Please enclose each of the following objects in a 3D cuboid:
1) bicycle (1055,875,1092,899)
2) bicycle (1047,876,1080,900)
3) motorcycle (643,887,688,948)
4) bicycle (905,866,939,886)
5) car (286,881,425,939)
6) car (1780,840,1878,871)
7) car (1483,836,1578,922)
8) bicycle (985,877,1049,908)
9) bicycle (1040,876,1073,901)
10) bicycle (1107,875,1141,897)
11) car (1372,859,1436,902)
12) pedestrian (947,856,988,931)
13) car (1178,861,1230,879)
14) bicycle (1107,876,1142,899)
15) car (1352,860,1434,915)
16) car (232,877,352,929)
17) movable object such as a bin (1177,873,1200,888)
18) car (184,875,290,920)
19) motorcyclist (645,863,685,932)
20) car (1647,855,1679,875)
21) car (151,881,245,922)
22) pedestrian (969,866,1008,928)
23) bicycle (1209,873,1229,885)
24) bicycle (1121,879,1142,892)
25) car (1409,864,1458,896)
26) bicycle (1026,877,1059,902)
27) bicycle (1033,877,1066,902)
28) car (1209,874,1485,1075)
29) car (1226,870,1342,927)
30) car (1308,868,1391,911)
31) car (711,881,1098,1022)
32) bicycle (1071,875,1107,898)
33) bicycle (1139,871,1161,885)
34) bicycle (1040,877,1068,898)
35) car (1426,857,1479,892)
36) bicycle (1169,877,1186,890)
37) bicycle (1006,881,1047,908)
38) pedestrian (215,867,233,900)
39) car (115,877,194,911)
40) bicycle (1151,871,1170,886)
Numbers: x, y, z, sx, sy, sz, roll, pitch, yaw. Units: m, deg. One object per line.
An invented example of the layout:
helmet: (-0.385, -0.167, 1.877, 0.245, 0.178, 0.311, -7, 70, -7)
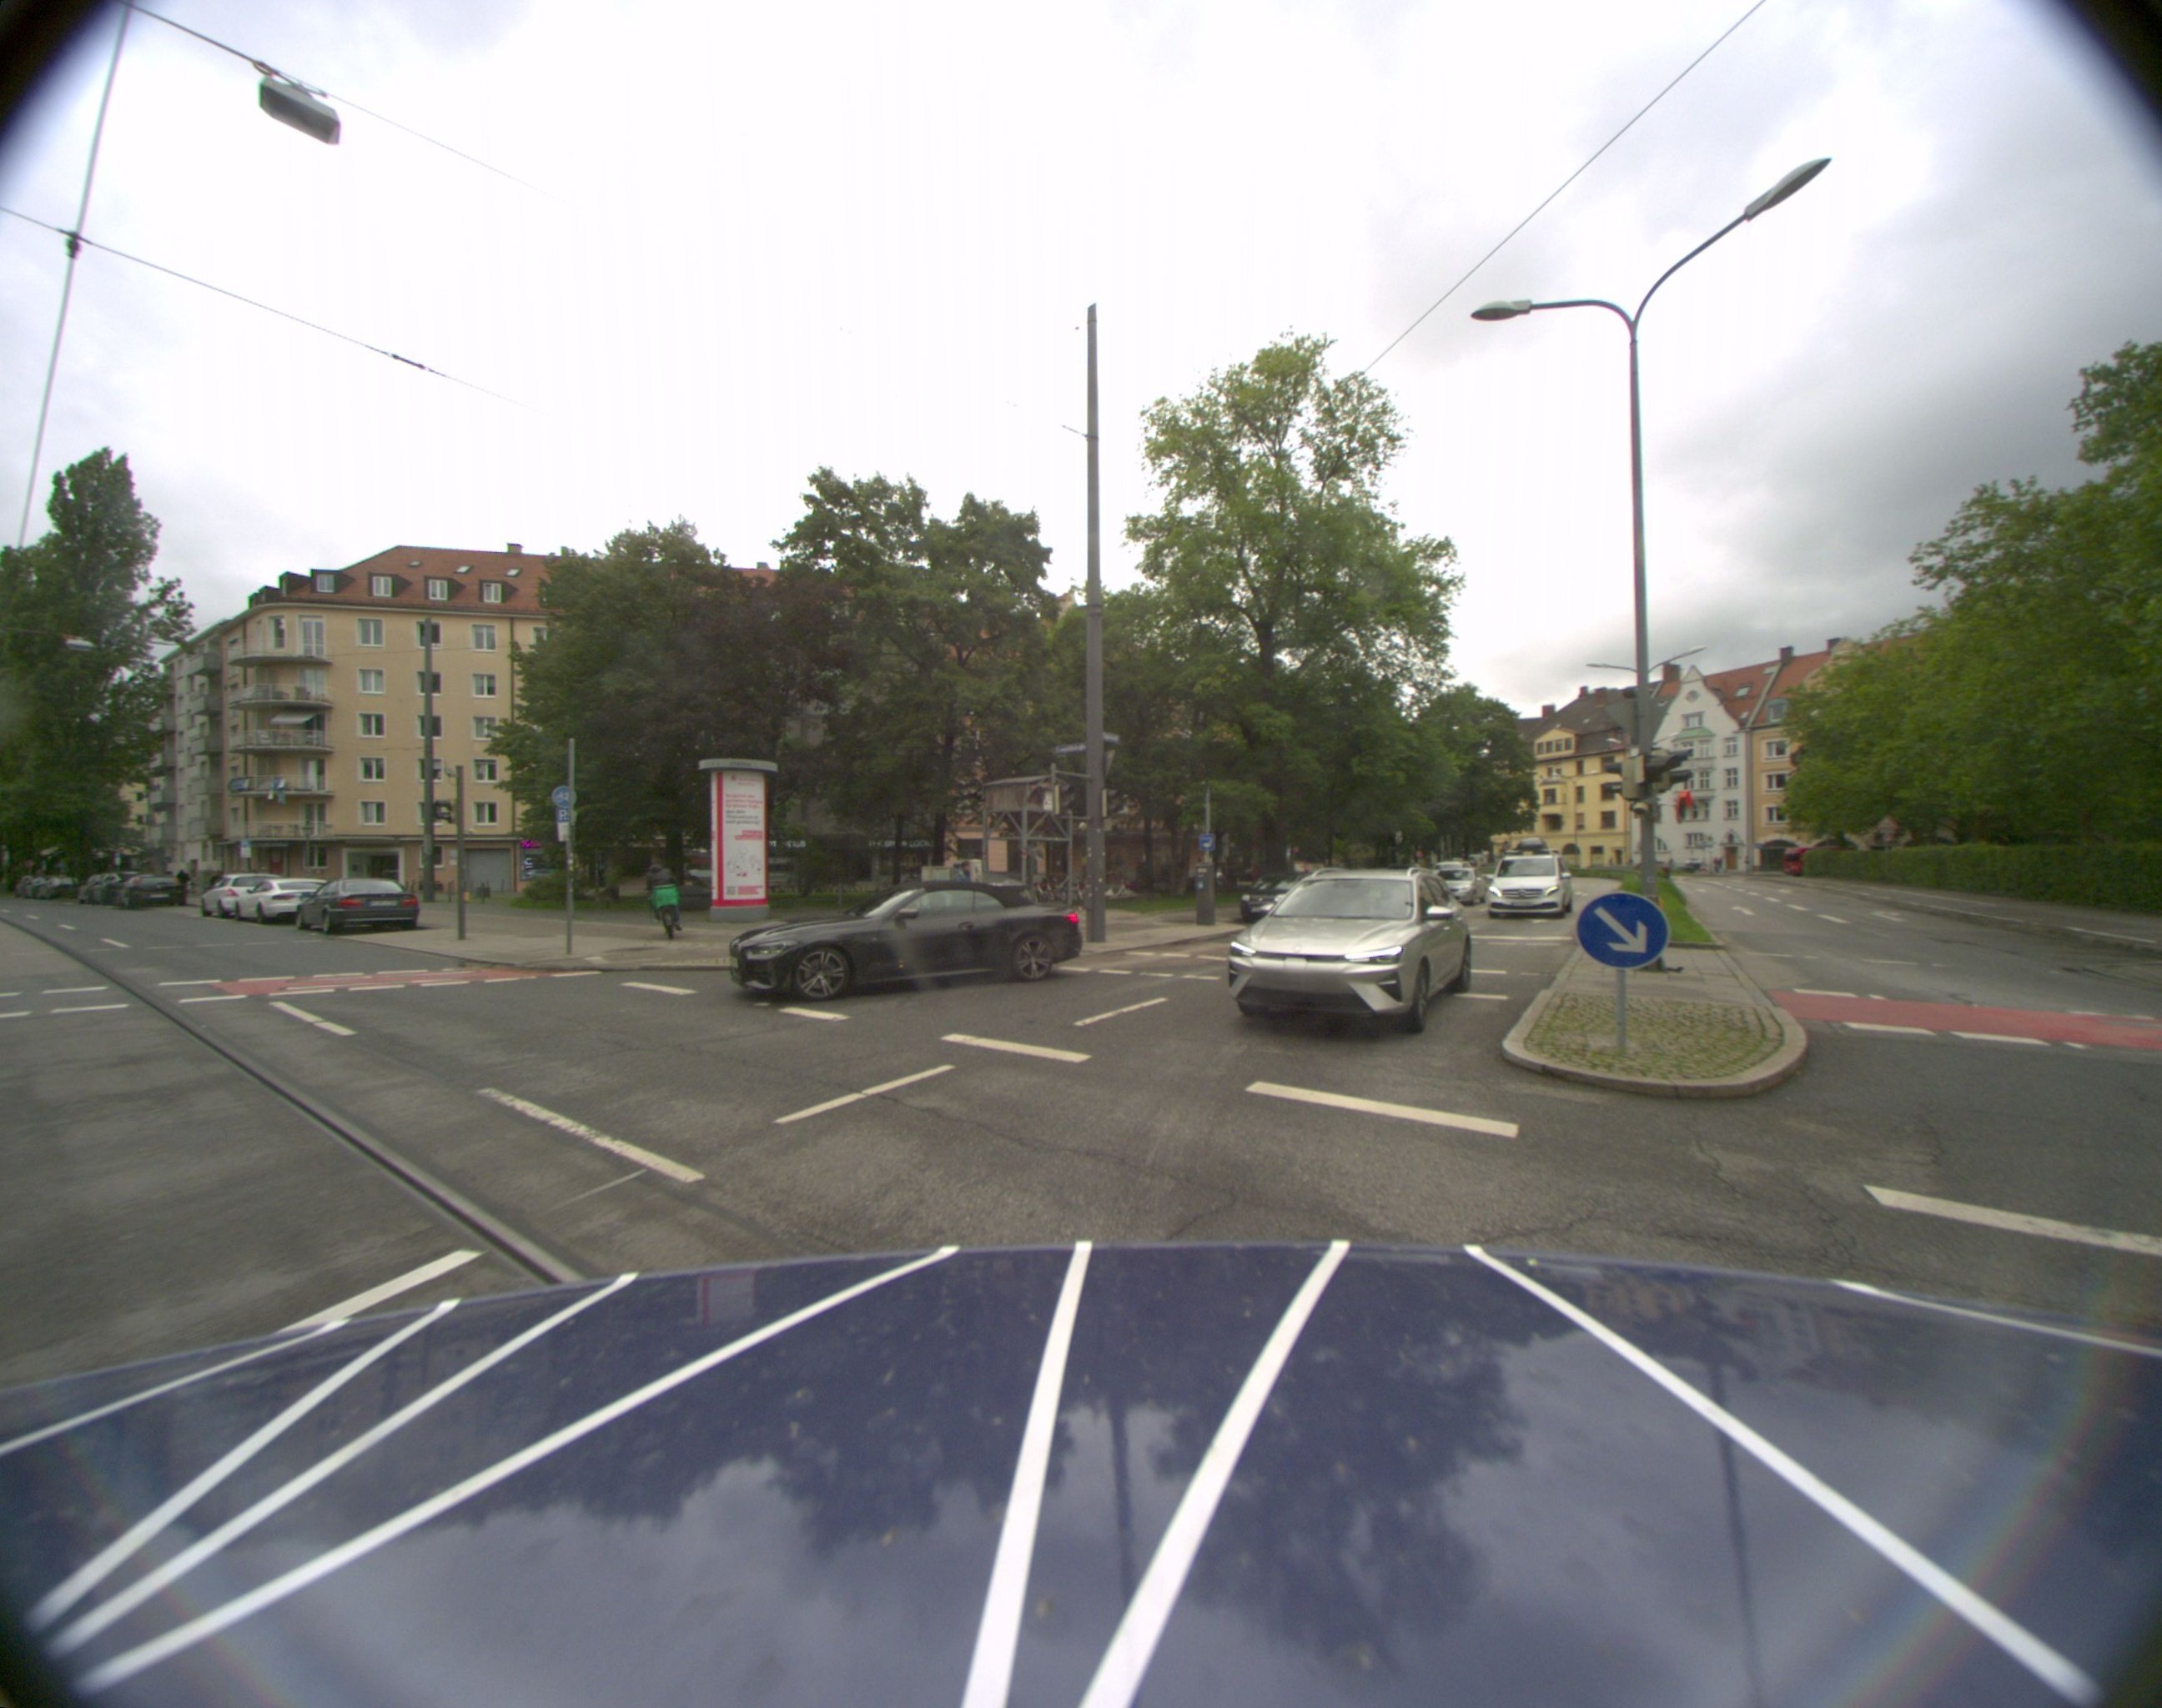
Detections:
bicycle: (-0.294, 1.269, 29.487, 1.409, 0.888, 0.314, -3, 0, 23)
bicycle: (-0.679, 1.304, 28.874, 1.409, 0.888, 0.314, -3, -1, 44)
motorcycle: (-9.060, 1.340, 16.608, 0.631, 1.163, 2.025, -2, 0, -23)
bicycle: (-11.002, 1.525, 52.629, 2.250, 1.282, 0.506, -2, 0, -17)
car: (-19.291, 1.416, 20.160, 3.989, 1.308, 1.734, -1, 0, 32)
car: (63.950, 0.154, 65.033, 6.074, 2.573, 2.111, 1, -1, 3)
car: (13.810, 0.698, 23.189, 1.908, 2.337, 4.956, 0, 0, 37)
bicycle: (-2.290, 1.380, 27.092, 2.234, 1.010, 0.632, -3, -1, 26)
bicycle: (-0.926, 1.310, 28.625, 1.409, 0.888, 0.314, -3, -1, 44)
bicycle: (1.820, 1.358, 32.520, 1.411, 0.888, 0.313, -2, 0, 0)
car: (14.755, 1.134, 34.529, 1.932, 1.809, 4.564, -1, 0, 33)
pedestrian: (-2.627, 0.891, 17.591, 0.719, 1.652, 0.546, 4, 3, 36)
car: (11.105, 1.495, 68.862, 1.865, 1.458, 4.431, -2, -1, -44)
bicycle: (1.820, 1.394, 31.971, 1.411, 0.888, 0.313, -2, 0, 0)
car: (9.675, 0.978, 23.387, 1.772, 1.515, 4.217, -2, -1, 30)
car: (-24.613, 1.461, 23.665, 4.363, 1.399, 1.734, -1, 0, 32)
movable object such as a bin: (6.593, 1.630, 46.783, 1.178, 0.867, 0.775, -1, 0, 45)
car: (-29.324, 1.452, 26.369, 4.363, 1.399, 1.734, -1, 0, 32)
motorcyclist: (-9.040, 0.932, 16.535, 0.621, 1.434, 0.880, -2, 0, -23)
car: (50.370, 0.943, 65.820, 2.104, 1.628, 4.950, 0, -1, 36)
car: (-34.189, 1.792, 29.388, 4.363, 1.399, 1.734, -1, 0, 32)
pedestrian: (-2.199, 1.009, 18.073, 0.719, 1.396, 0.546, 2, 2, 36)
bicycle: (8.800, 1.589, 48.419, 1.179, 0.719, 0.319, -2, 0, -9)
bicycle: (2.712, 1.693, 40.853, 0.320, 0.719, 1.175, -2, -1, -44)
car: (18.011, 1.298, 38.801, 1.520, 1.540, 3.670, -1, 0, 37)
bicycle: (-1.422, 1.322, 28.098, 1.409, 0.888, 0.314, -3, -1, 44)
bicycle: (-1.179, 1.316, 28.338, 1.409, 0.888, 0.314, -3, -1, 44)
car: (3.158, 1.049, 8.384, 1.771, 1.515, 4.217, -2, -1, 35)
car: (6.384, 1.287, 23.577, 1.831, 1.540, 4.564, -1, 0, 38)
car: (10.281, 1.279, 28.847, 1.768, 1.452, 4.652, -1, 0, 35)
car: (-2.220, 1.131, 10.292, 4.807, 1.381, 1.725, 0, 0, -35)
bicycle: (0.323, 1.287, 30.433, 1.410, 0.888, 0.313, -1, 0, 11)
bicycle: (3.609, 1.271, 39.927, 0.320, 0.719, 1.175, -2, -1, -44)
bicycle: (-1.224, 1.523, 34.741, 0.312, 0.888, 1.415, -3, -1, 43)
car: (21.416, 1.127, 43.693, 1.844, 1.845, 5.035, -1, 0, 37)
bicycle: (5.265, 1.602, 41.597, 0.319, 0.719, 1.176, -2, -1, -27)
bicycle: (-1.890, 1.406, 26.619, 1.415, 0.888, 0.312, 0, -1, -27)
pedestrian: (-51.895, 1.774, 45.992, 0.629, 2.001, 0.547, -2, 0, 27)
car: (-42.309, 1.792, 34.678, 4.462, 1.399, 1.734, -1, 0, 32)
bicycle: (4.248, 1.310, 40.622, 1.181, 0.719, 0.318, -2, -1, -42)
